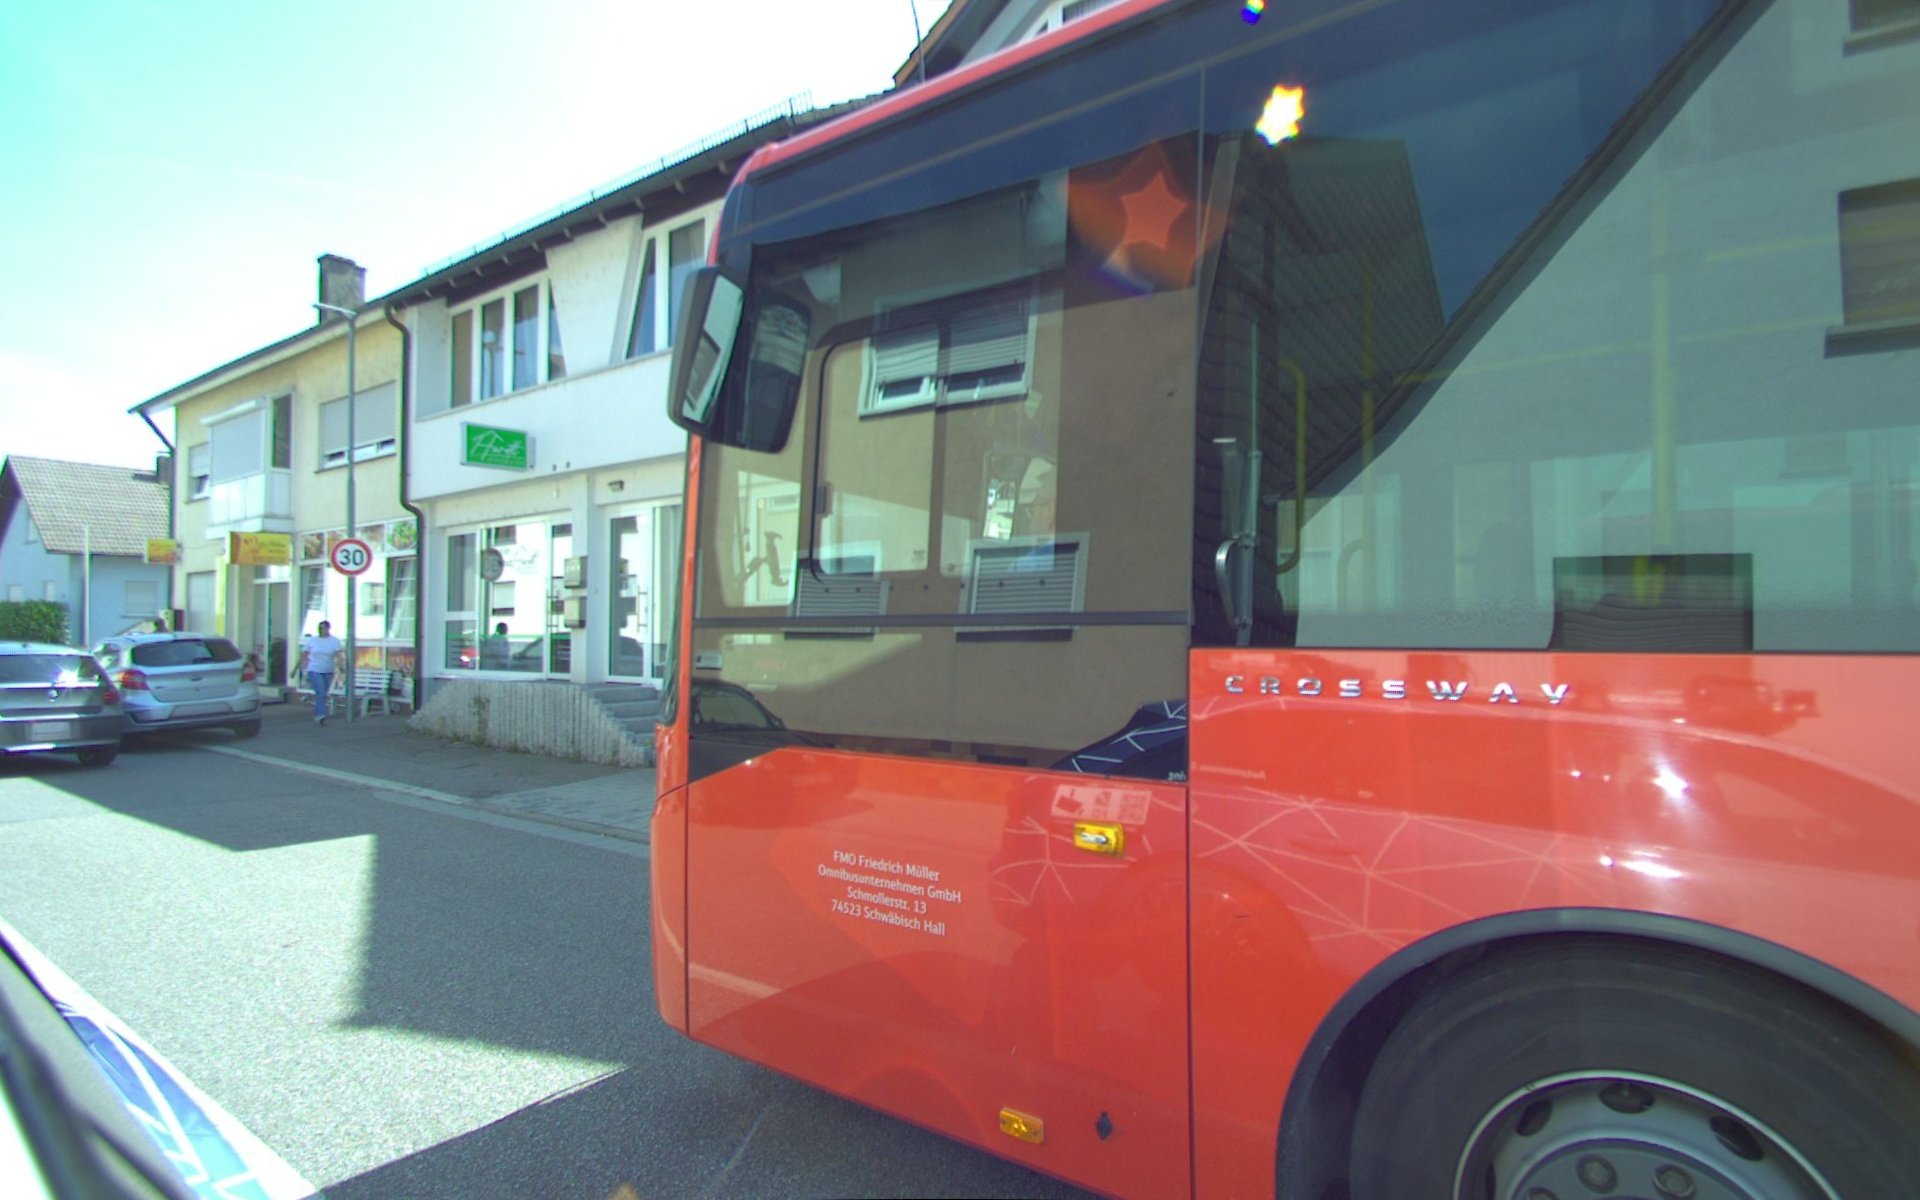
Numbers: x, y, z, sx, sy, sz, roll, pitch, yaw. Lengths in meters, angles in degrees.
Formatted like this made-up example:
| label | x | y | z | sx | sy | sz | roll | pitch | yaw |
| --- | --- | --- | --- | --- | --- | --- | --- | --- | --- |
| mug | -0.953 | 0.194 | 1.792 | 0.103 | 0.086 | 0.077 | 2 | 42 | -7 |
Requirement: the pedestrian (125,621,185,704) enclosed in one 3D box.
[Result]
| label | x | y | z | sx | sy | sz | roll | pitch | yaw |
| --- | --- | --- | --- | --- | --- | --- | --- | --- | --- |
| pedestrian | -16.134 | 1.231 | 20.280 | 0.955 | 1.595 | 0.748 | -1 | 0 | 39 |

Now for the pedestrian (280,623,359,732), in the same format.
| label | x | y | z | sx | sy | sz | roll | pitch | yaw |
| --- | --- | --- | --- | --- | --- | --- | --- | --- | --- |
| pedestrian | -9.792 | 1.152 | 15.481 | 0.955 | 1.595 | 0.748 | -1 | 0 | 39 |

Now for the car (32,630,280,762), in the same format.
| label | x | y | z | sx | sy | sz | roll | pitch | yaw |
| --- | --- | --- | --- | --- | --- | --- | --- | --- | --- |
| car | -11.568 | 1.256 | 14.490 | 3.991 | 1.527 | 1.729 | -1 | 1 | 36 |

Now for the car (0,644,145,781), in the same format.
| label | x | y | z | sx | sy | sz | roll | pitch | yaw |
| --- | --- | --- | --- | --- | --- | --- | --- | --- | --- |
| car | -11.430 | 1.217 | 11.643 | 3.850 | 1.408 | 1.749 | -1 | -4 | 27 |

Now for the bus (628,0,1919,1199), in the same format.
| label | x | y | z | sx | sy | sz | roll | pitch | yaw |
| --- | --- | --- | --- | --- | --- | --- | --- | --- | --- |
| bus | 4.664 | -0.191 | 0.357 | 12.001 | 3.257 | 2.602 | -2 | -4 | 37 |
